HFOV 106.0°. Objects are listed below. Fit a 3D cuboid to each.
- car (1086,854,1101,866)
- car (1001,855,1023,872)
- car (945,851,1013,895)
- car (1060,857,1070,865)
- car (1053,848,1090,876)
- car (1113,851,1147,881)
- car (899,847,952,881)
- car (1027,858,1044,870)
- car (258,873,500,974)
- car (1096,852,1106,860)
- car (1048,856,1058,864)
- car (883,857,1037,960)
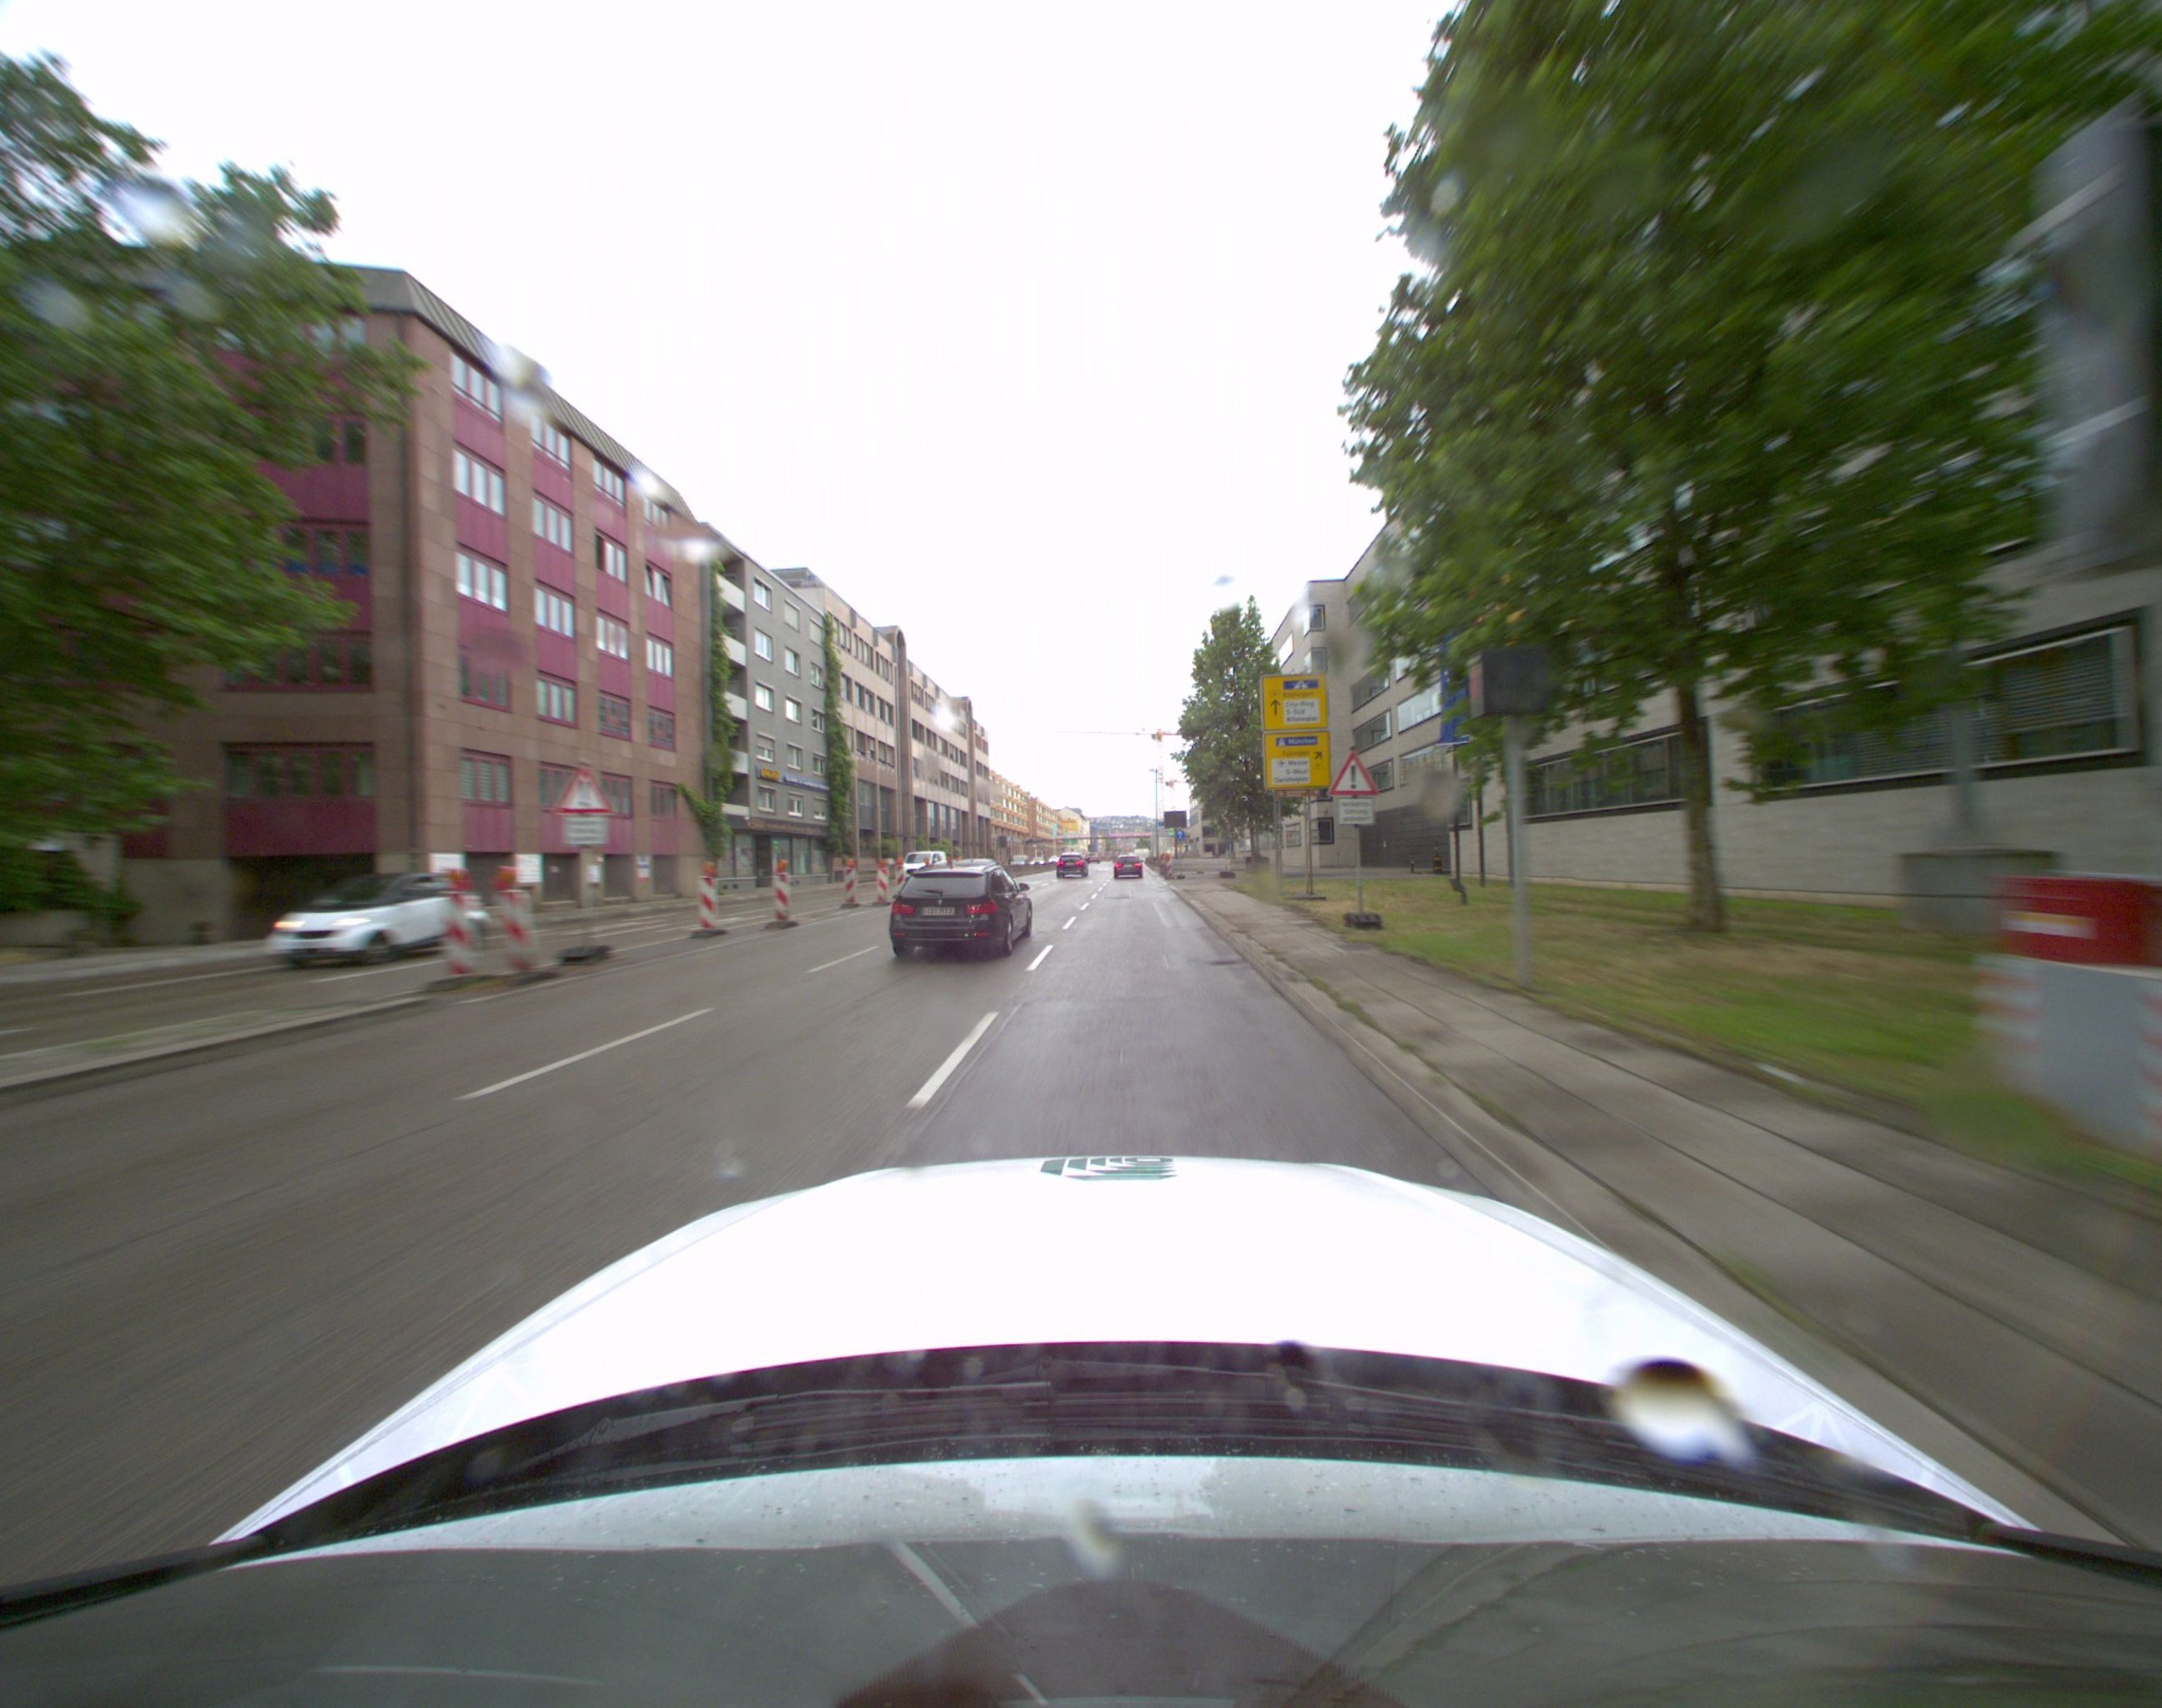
[{"bbox_3d":[1.920,0.879,126.023,1.890,1.693,4.007,-3,-1,7],"label":"car"},{"bbox_3d":[-7.693,1.031,91.343,1.713,1.770,4.430,-3,-1,4],"label":"car"},{"bbox_3d":[-3.632,0.666,29.733,1.784,1.426,4.385,-3,-1,1],"label":"car"},{"bbox_3d":[-3.590,1.586,184.911,1.813,1.618,4.194,-3,1,3],"label":"car"},{"bbox_3d":[-0.602,0.530,54.364,1.890,1.693,4.007,-3,-1,7],"label":"car"},{"bbox_3d":[3.117,0.728,51.245,1.891,1.693,4.006,-3,-1,5],"label":"car"},{"bbox_3d":[-9.800,0.604,51.693,1.985,1.990,5.294,-3,-1,3],"label":"car"},{"bbox_3d":[-6.356,1.414,113.830,1.853,1.533,4.233,-3,-1,2],"label":"car"},{"bbox_3d":[-12.339,1.155,14.553,1.548,1.484,2.954,-3,0,6],"label":"car"},{"bbox_3d":[4.526,0.388,180.789,1.984,1.620,4.768,-3,-1,4],"label":"car"},{"bbox_3d":[-5.662,1.268,165.216,1.596,1.442,3.661,-3,1,3],"label":"car"},{"bbox_3d":[-1.857,0.790,13.950,1.784,1.426,4.615,0,0,2],"label":"car"}]
